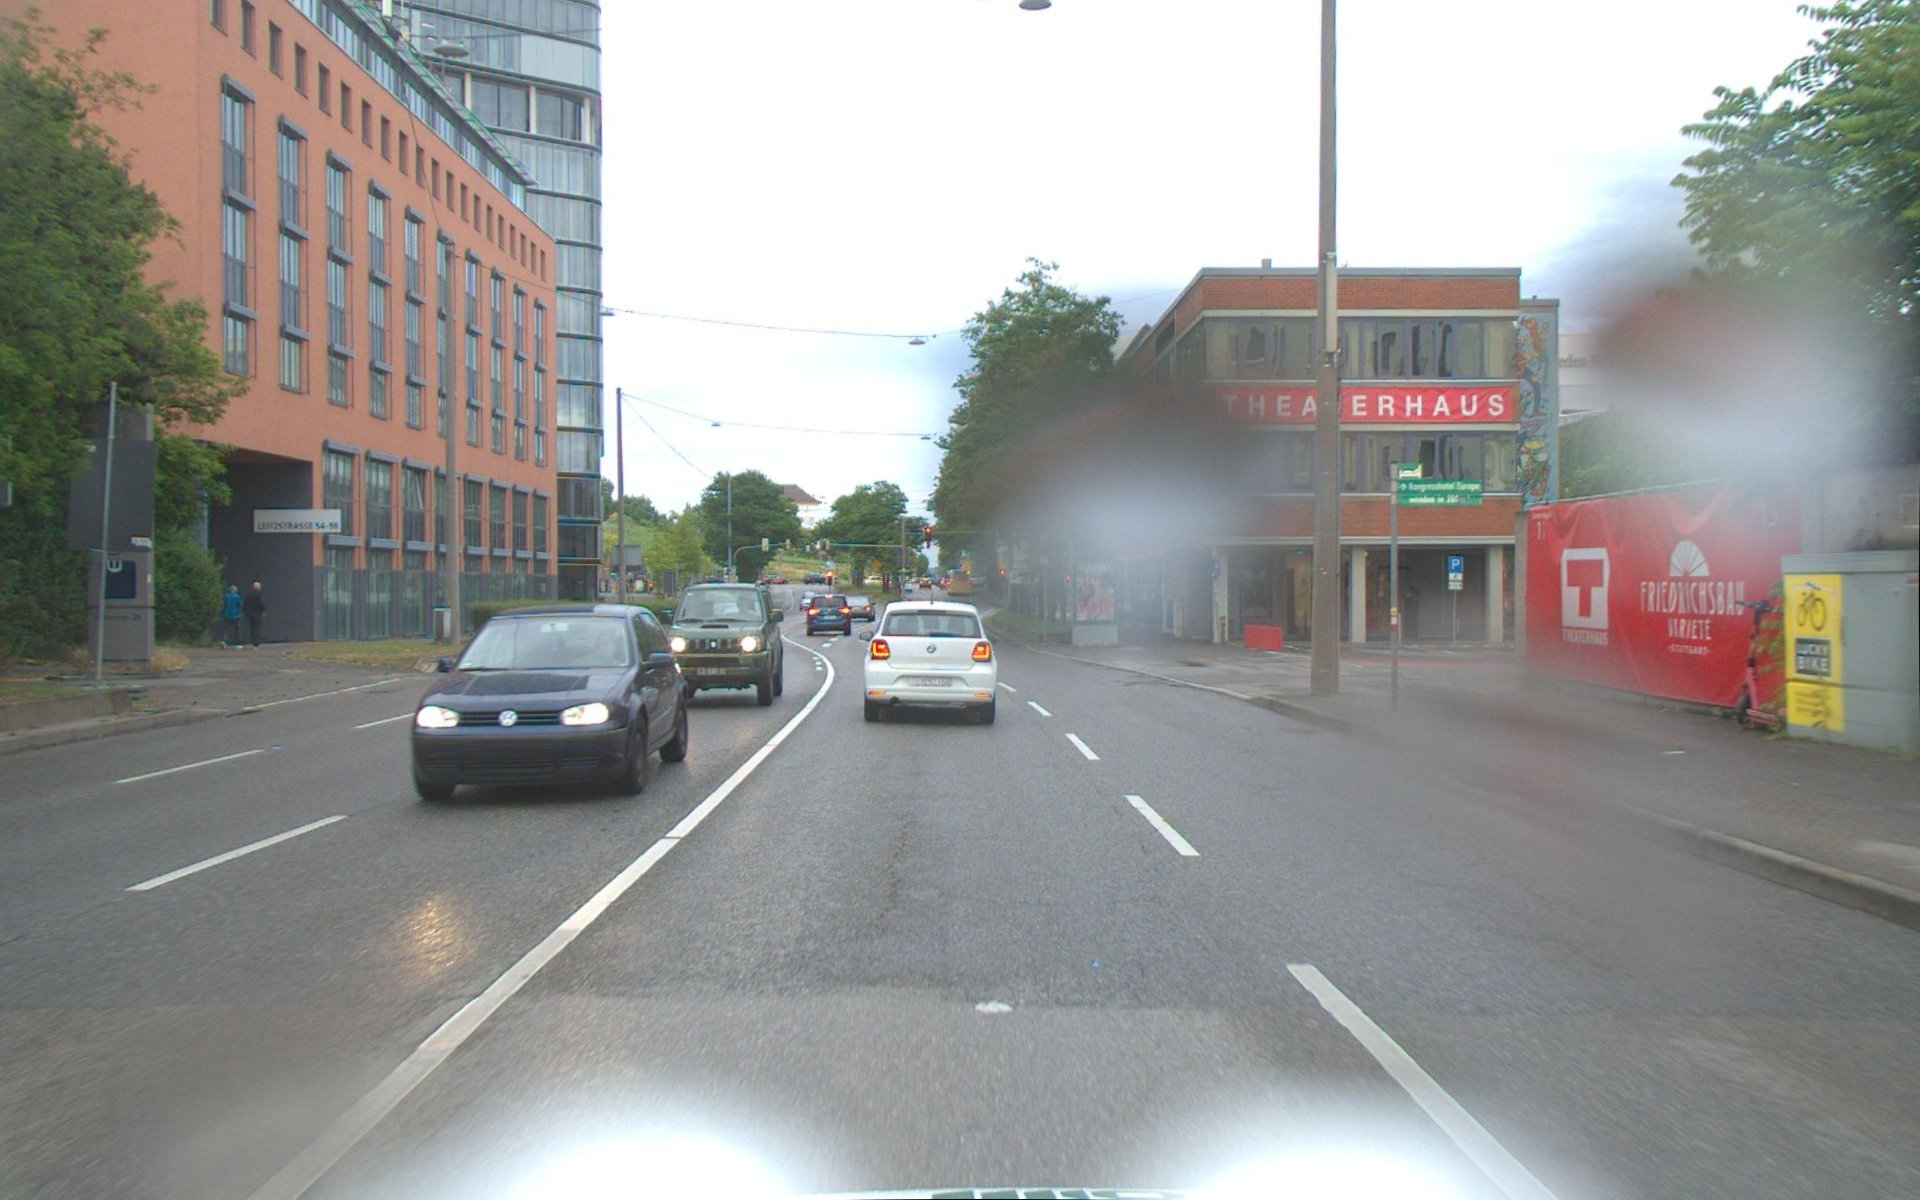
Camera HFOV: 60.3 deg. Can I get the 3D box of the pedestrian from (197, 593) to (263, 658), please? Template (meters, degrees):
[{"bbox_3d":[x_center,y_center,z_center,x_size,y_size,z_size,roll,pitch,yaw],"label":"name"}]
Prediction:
[{"bbox_3d":[-20.213,0.721,45.846,1.182,1.708,1.419,-2,-2,-1],"label":"pedestrian"}]

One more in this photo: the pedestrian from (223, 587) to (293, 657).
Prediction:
[{"bbox_3d":[-19.458,0.622,45.899,1.289,1.855,1.438,-2,-2,-1],"label":"pedestrian"}]

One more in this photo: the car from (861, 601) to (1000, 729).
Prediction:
[{"bbox_3d":[-0.389,0.781,21.412,1.637,1.499,3.778,0,0,-1],"label":"car"}]

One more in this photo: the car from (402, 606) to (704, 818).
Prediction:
[{"bbox_3d":[-3.225,0.818,13.814,1.625,1.512,3.819,0,0,-1],"label":"car"}]

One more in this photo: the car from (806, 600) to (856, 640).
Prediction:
[{"bbox_3d":[-5.255,0.811,67.369,1.954,1.601,3.996,0,0,-4],"label":"car"}]

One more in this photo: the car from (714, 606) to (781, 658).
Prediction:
[{"bbox_3d":[-5.971,0.893,46.813,1.678,1.389,3.996,-1,-1,-4],"label":"car"}]

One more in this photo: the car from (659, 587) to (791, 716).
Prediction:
[{"bbox_3d":[-3.345,0.682,24.041,1.472,1.695,3.419,0,1,-1],"label":"car"}]
